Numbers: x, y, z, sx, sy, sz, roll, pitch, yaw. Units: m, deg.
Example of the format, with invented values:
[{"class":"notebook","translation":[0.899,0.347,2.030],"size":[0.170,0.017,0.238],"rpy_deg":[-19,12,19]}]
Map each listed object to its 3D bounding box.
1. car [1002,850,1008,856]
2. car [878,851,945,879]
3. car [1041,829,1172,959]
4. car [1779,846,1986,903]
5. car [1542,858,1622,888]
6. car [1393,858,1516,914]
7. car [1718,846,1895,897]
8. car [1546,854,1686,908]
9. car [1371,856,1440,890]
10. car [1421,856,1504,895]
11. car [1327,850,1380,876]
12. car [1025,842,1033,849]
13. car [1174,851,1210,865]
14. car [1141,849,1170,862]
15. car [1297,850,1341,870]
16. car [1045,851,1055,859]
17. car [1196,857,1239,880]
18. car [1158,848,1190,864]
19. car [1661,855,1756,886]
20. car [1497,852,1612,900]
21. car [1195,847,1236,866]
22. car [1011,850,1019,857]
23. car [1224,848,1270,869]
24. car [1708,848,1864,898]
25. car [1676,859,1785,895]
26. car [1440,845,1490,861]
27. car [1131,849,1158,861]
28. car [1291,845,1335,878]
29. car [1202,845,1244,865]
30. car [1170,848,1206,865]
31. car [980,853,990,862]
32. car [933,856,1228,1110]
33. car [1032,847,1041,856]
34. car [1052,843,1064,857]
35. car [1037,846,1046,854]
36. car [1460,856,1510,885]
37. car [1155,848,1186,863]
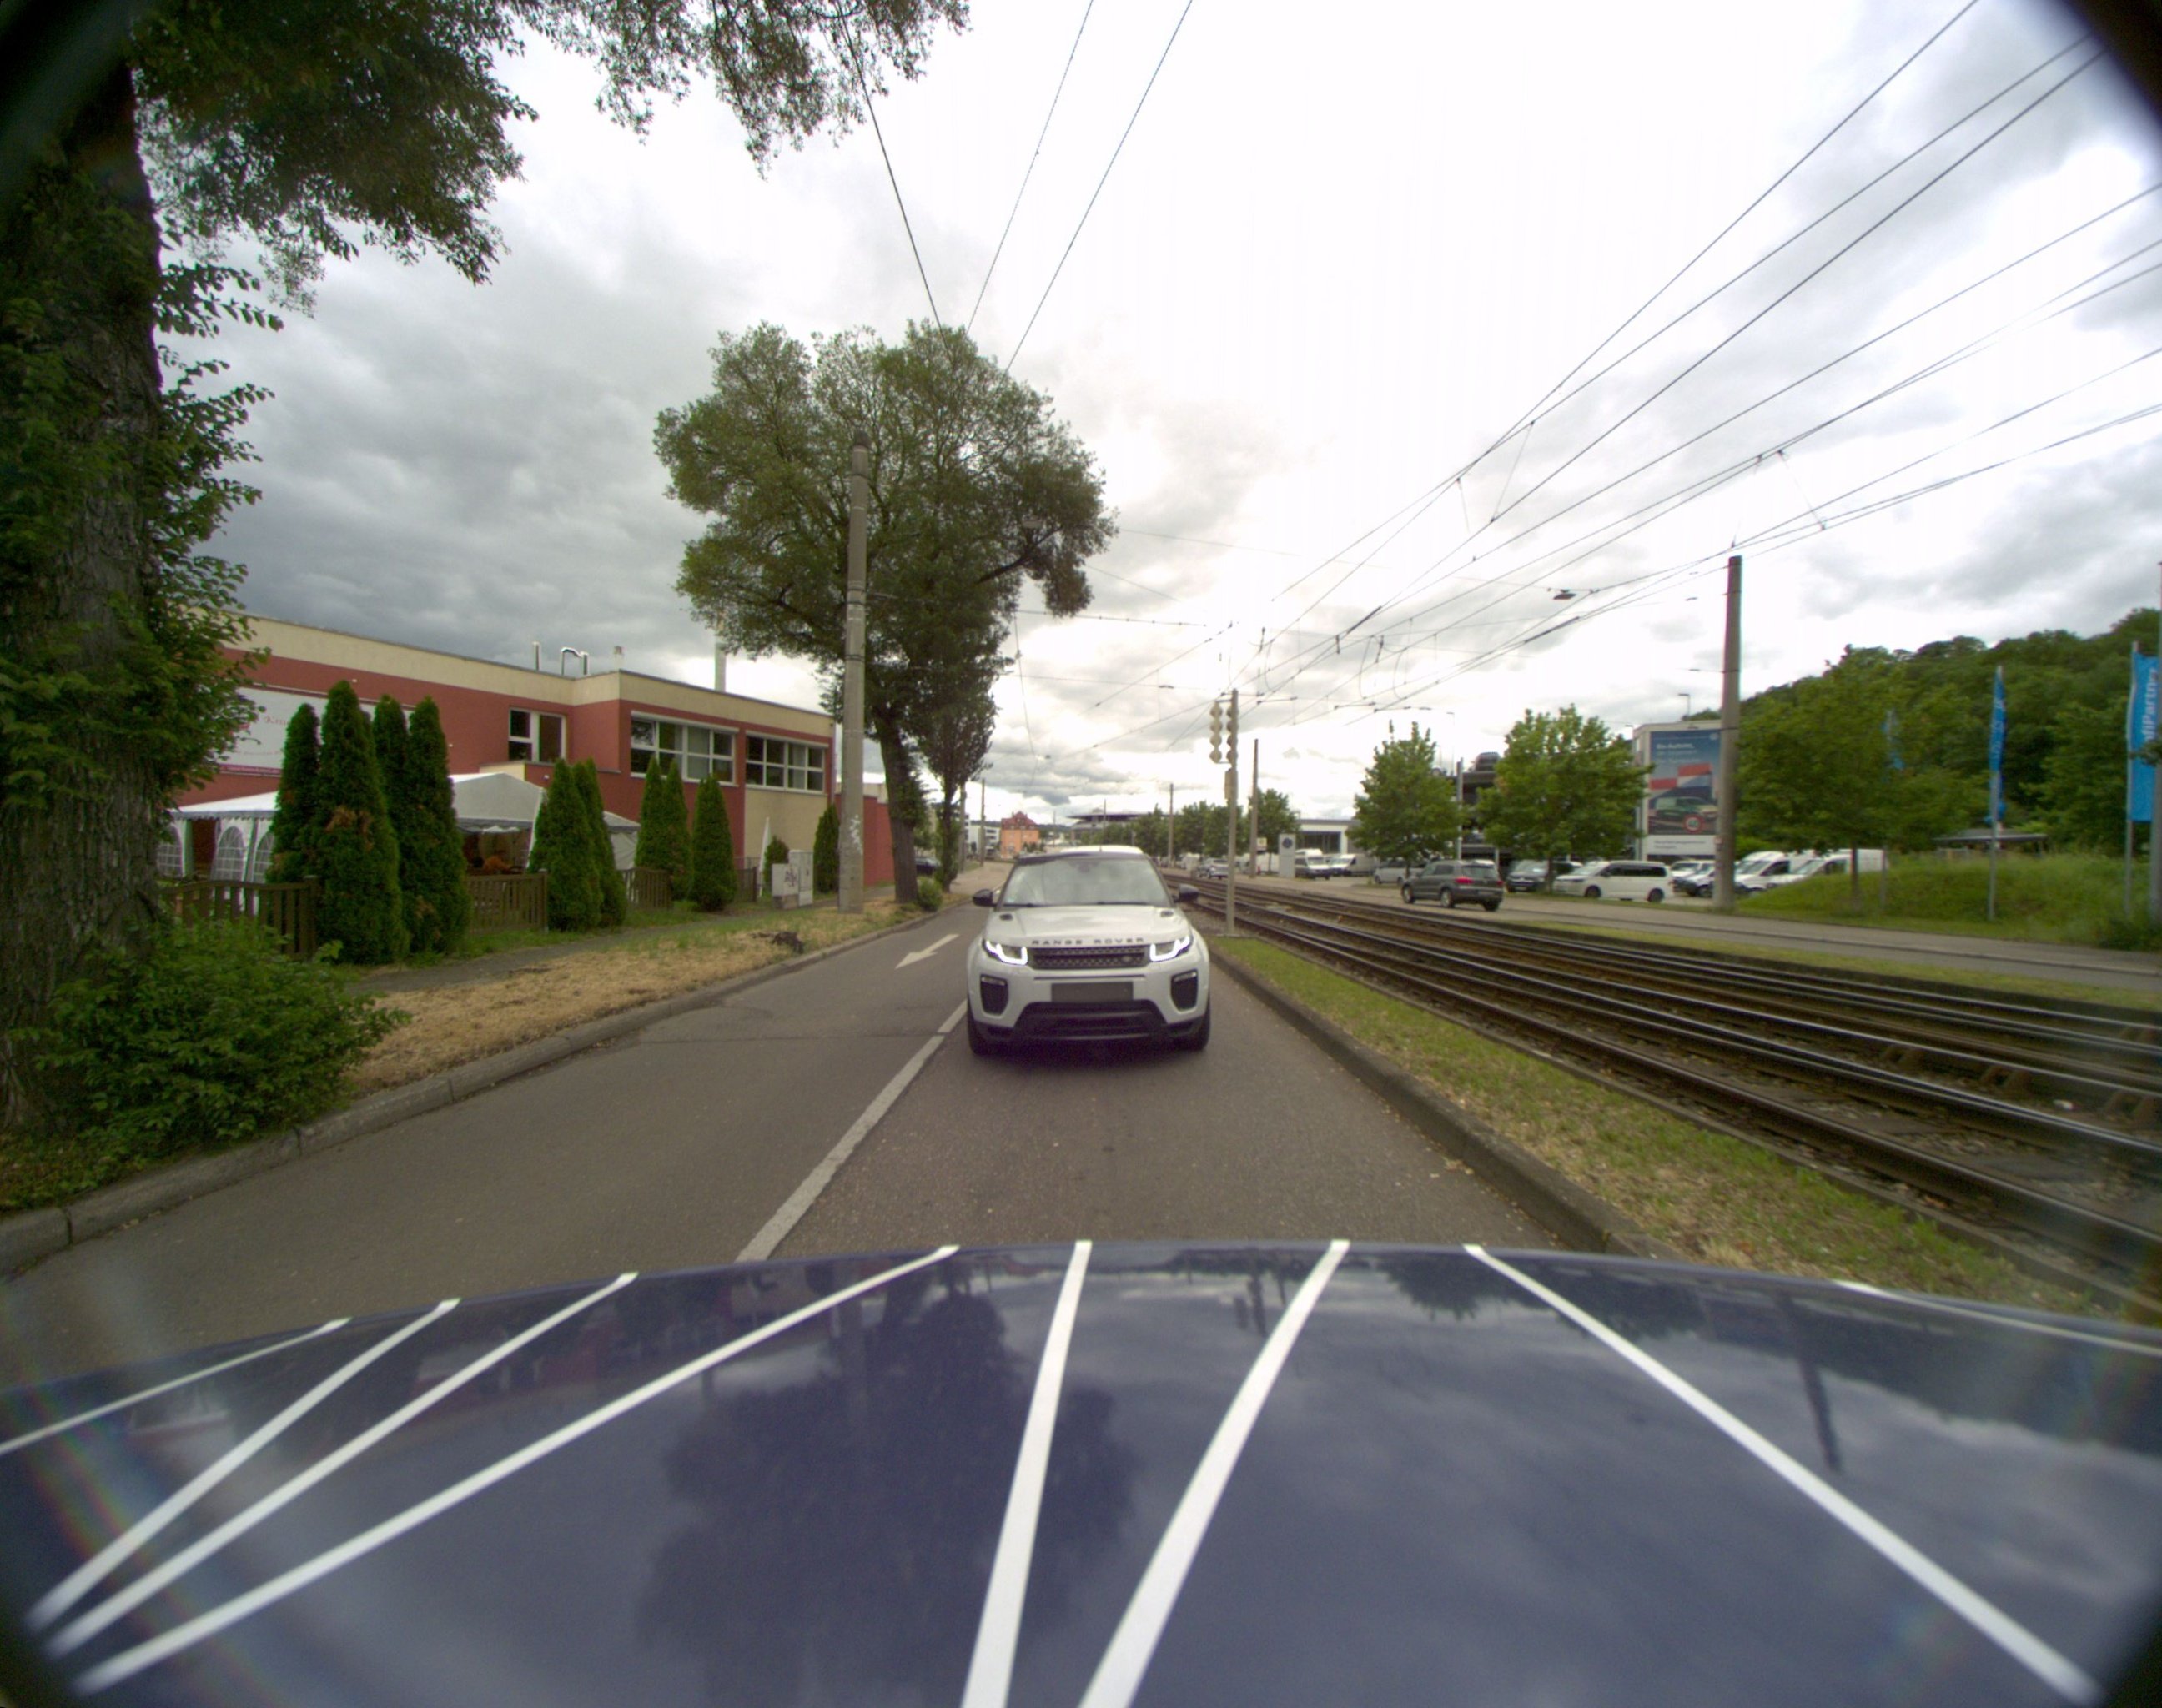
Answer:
[{"class":"car","translation":[-25.317,-0.424,252.375],"size":[2.000,2.002,3.997],"rpy_deg":[-2,1,-7]},{"class":"car","translation":[-11.019,0.688,49.619],"size":[3.999,1.636,1.895],"rpy_deg":[-2,1,-6]},{"class":"car","translation":[0.408,0.595,14.137],"size":[1.998,1.990,5.034],"rpy_deg":[0,0,0]},{"class":"car","translation":[34.673,0.906,33.131],"size":[5.850,2.254,2.056],"rpy_deg":[-2,1,22]},{"class":"car","translation":[34.399,1.296,52.320],"size":[4.228,1.826,1.983],"rpy_deg":[-2,1,19]},{"class":"car","translation":[13.189,1.073,27.121],"size":[1.906,1.708,4.133],"rpy_deg":[3,0,-7]},{"class":"car","translation":[35.026,0.850,36.913],"size":[5.839,2.254,2.056],"rpy_deg":[-2,1,22]},{"class":"car","translation":[25.274,1.235,36.003],"size":[5.269,2.254,1.999],"rpy_deg":[-2,1,-3]},{"class":"car","translation":[22.126,1.225,52.107],"size":[2.142,2.104,4.772],"rpy_deg":[-2,1,-8]},{"class":"car","translation":[22.923,1.257,45.871],"size":[2.142,2.104,4.773],"rpy_deg":[-2,1,-7]},{"class":"car","translation":[30.324,0.966,84.568],"size":[6.057,2.608,2.316],"rpy_deg":[-3,1,-34]},{"class":"car","translation":[-15.990,-2.629,233.747],"size":[2.000,2.002,3.997],"rpy_deg":[-2,1,-7]},{"class":"car","translation":[15.759,0.585,108.122],"size":[4.639,1.829,2.107],"rpy_deg":[-2,1,-8]},{"class":"car","translation":[13.011,0.228,132.842],"size":[4.639,2.196,2.107],"rpy_deg":[-2,1,-8]},{"class":"car","translation":[29.118,0.711,93.031],"size":[4.636,2.196,2.108],"rpy_deg":[-2,1,-1]},{"class":"car","translation":[-7.882,0.307,192.083],"size":[2.000,2.002,3.997],"rpy_deg":[-2,1,-7]},{"class":"car","translation":[9.969,1.006,55.700],"size":[2.000,1.569,4.175],"rpy_deg":[1,0,-6]},{"class":"car","translation":[14.758,0.300,120.489],"size":[4.639,2.196,2.107],"rpy_deg":[-2,1,-8]},{"class":"car","translation":[39.873,1.037,48.399],"size":[4.228,1.826,1.983],"rpy_deg":[-2,1,19]},{"class":"car","translation":[24.677,1.127,39.675],"size":[4.774,2.254,1.979],"rpy_deg":[-2,1,-3]},{"class":"car","translation":[17.069,0.312,96.400],"size":[4.639,2.196,2.107],"rpy_deg":[-2,1,-8]},{"class":"car","translation":[-19.637,-0.087,226.357],"size":[2.000,2.002,3.997],"rpy_deg":[-2,1,-7]},{"class":"car","translation":[18.766,0.482,86.092],"size":[4.639,2.196,2.107],"rpy_deg":[-2,1,-8]},{"class":"car","translation":[36.838,0.997,39.903],"size":[5.652,2.446,1.983],"rpy_deg":[-2,1,19]},{"class":"car","translation":[36.655,1.280,42.989],"size":[4.228,1.826,1.983],"rpy_deg":[-2,1,19]},{"class":"car","translation":[46.337,-0.119,91.802],"size":[5.216,1.826,1.983],"rpy_deg":[-2,1,21]},{"class":"car","translation":[11.846,0.178,141.324],"size":[4.639,2.196,2.107],"rpy_deg":[-2,1,-8]},{"class":"car","translation":[22.402,0.668,73.598],"size":[2.320,2.994,6.157],"rpy_deg":[-2,1,0]},{"class":"car","translation":[17.489,0.131,93.615],"size":[4.639,2.196,2.107],"rpy_deg":[-2,1,-8]},{"class":"car","translation":[15.542,0.382,110.523],"size":[4.639,2.196,2.107],"rpy_deg":[-2,1,-8]},{"class":"car","translation":[-20.191,0.649,160.629],"size":[1.869,1.740,3.998],"rpy_deg":[-2,1,-5]},{"class":"car","translation":[-0.004,0.886,7.297],"size":[1.998,1.680,4.268],"rpy_deg":[0,1,0]},{"class":"car","translation":[-11.094,-0.589,190.100],"size":[2.000,2.002,3.997],"rpy_deg":[-2,1,-7]},{"class":"car","translation":[-4.891,-0.830,163.628],"size":[2.410,2.931,4.747],"rpy_deg":[-2,1,-2]},{"class":"car","translation":[-10.635,-0.980,205.076],"size":[2.000,2.002,3.997],"rpy_deg":[-2,1,-7]},{"class":"car","translation":[28.880,1.142,54.413],"size":[1.900,1.882,4.600],"rpy_deg":[-2,1,12]},{"class":"car","translation":[14.481,0.284,122.925],"size":[4.639,2.196,2.107],"rpy_deg":[-2,1,-8]}]
